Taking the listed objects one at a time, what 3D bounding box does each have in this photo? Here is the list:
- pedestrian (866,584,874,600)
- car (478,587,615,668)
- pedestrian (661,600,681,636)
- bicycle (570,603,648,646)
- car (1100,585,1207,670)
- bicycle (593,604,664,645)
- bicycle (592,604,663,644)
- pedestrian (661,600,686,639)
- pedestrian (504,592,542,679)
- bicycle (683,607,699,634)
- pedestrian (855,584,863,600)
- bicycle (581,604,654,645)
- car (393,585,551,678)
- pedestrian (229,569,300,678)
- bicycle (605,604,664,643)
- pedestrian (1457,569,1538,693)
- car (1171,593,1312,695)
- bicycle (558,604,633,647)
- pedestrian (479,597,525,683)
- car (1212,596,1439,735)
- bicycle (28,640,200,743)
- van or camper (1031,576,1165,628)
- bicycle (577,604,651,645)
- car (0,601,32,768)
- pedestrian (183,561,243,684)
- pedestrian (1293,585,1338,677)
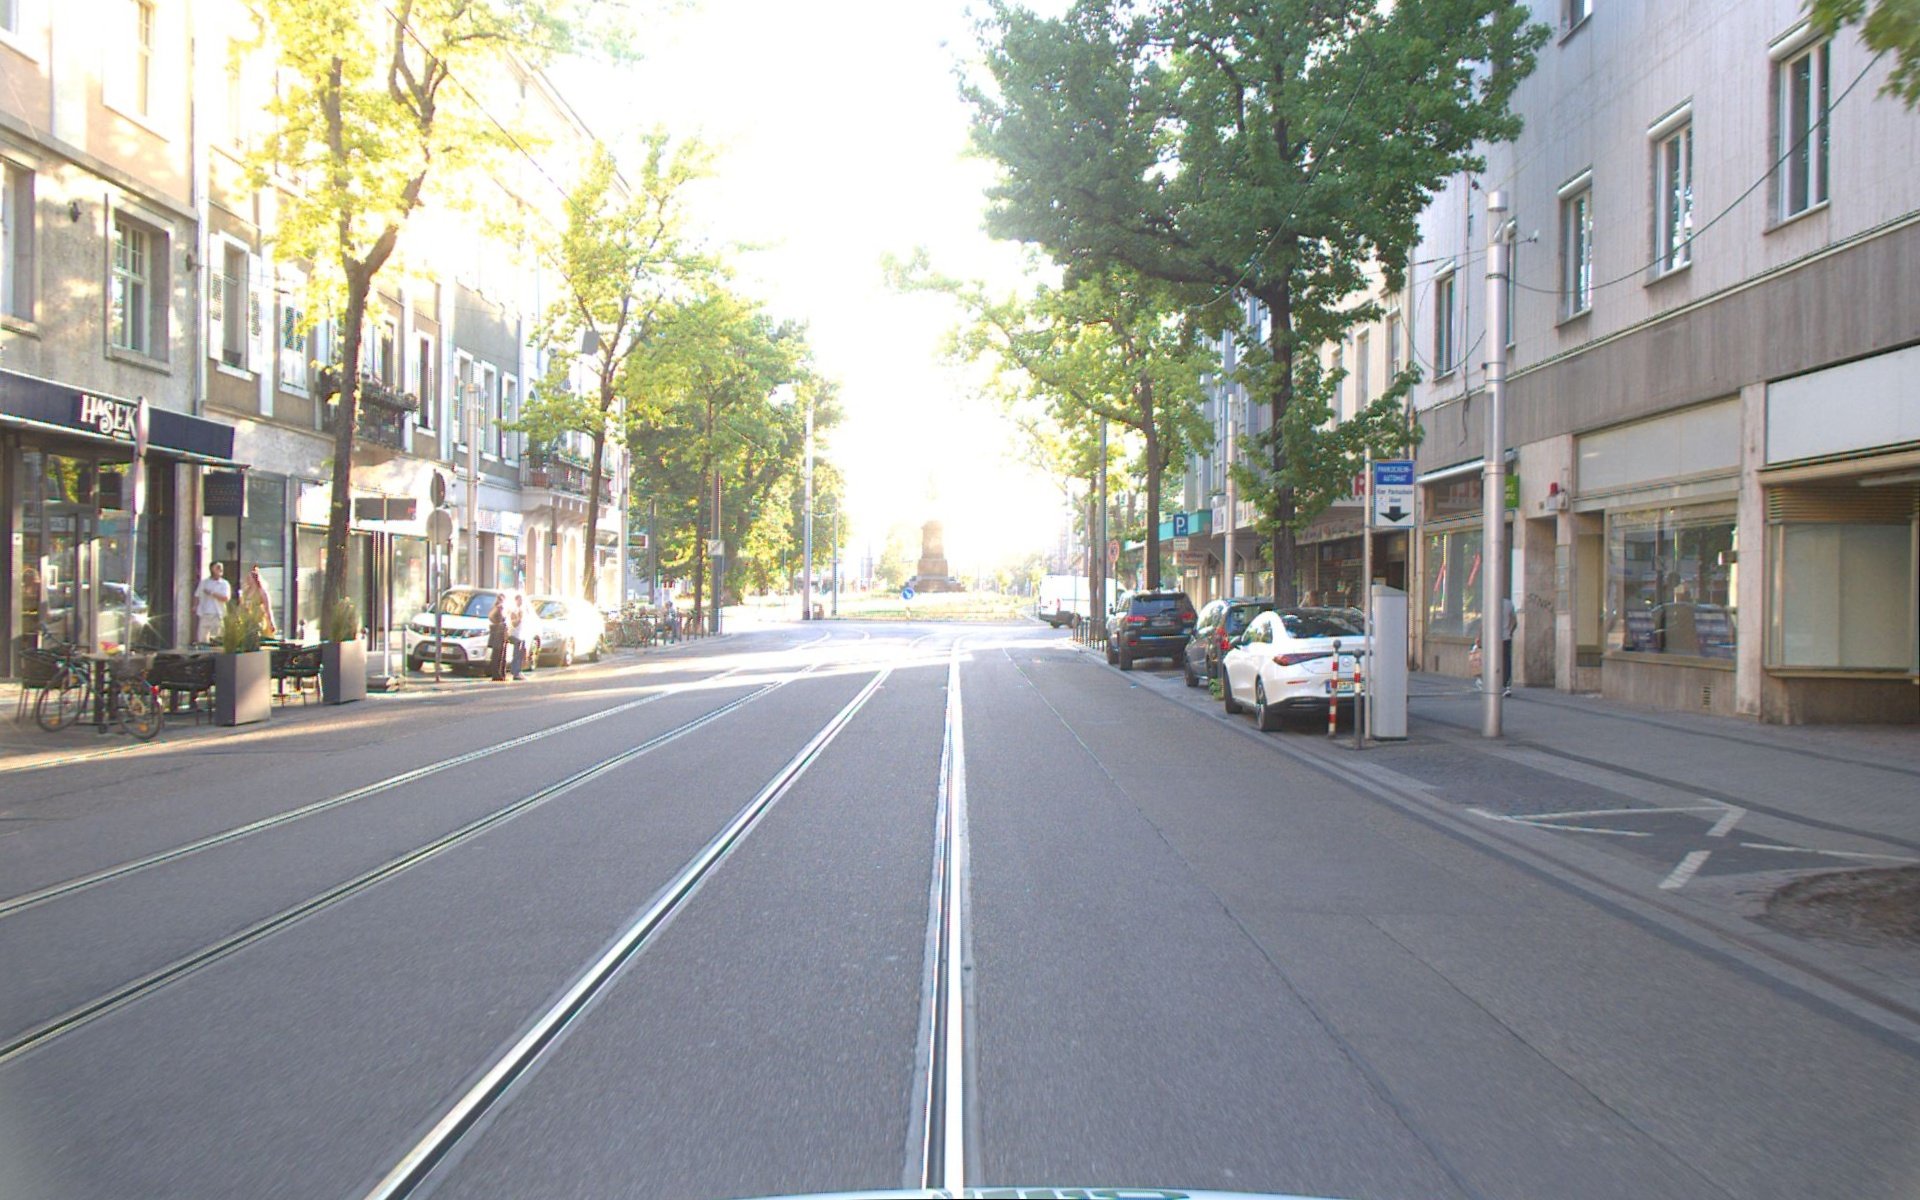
[{"bbox_3d":[-9.097,-0.812,167.140,0.754,1.634,0.637,0,0,-7],"label":"pedestrian"},{"bbox_3d":[-9.331,0.575,37.709,1.799,1.607,4.702,4,0,0],"label":"car"},{"bbox_3d":[-10.083,0.617,57.647,0.579,1.214,0.641,1,0,-3],"label":"pedestrian"},{"bbox_3d":[-9.981,0.695,47.020,2.082,1.124,0.497,3,-1,-26],"label":"bicycle"},{"bbox_3d":[4.517,0.603,39.328,1.899,1.790,4.679,-3,0,0],"label":"car"},{"bbox_3d":[-9.841,0.723,49.125,1.981,1.124,0.501,2,-1,2],"label":"bicycle"},{"bbox_3d":[-10.000,0.716,49.711,1.981,1.124,0.501,2,-1,2],"label":"bicycle"},{"bbox_3d":[-9.702,0.656,56.008,0.713,1.313,0.856,1,0,-3],"label":"pedestrian"},{"bbox_3d":[-8.069,0.656,30.565,0.510,1.596,0.634,0,-1,0],"label":"pedestrian"},{"bbox_3d":[-9.984,0.760,61.312,0.329,0.962,1.510,0,0,1],"label":"bicycle"},{"bbox_3d":[-10.238,-0.824,167.685,0.754,1.634,0.637,0,0,-7],"label":"pedestrian"},{"bbox_3d":[-9.975,0.727,48.245,1.998,1.124,0.497,3,-1,-26],"label":"bicycle"},{"bbox_3d":[-9.626,0.584,32.929,1.799,1.607,4.116,4,0,0],"label":"car"},{"bbox_3d":[-11.680,0.377,27.808,0.707,1.791,1.090,1,0,0],"label":"pedestrian"},{"bbox_3d":[-9.955,0.706,50.582,1.989,1.124,0.499,2,-1,35],"label":"bicycle"},{"bbox_3d":[8.048,0.456,24.803,0.840,1.783,0.932,-3,0,0],"label":"pedestrian"},{"bbox_3d":[4.958,0.726,29.585,1.740,1.618,3.891,-3,0,-1],"label":"car"},{"bbox_3d":[-10.159,0.705,46.099,1.921,1.124,0.563,3,-1,-26],"label":"bicycle"},{"bbox_3d":[-8.236,0.713,29.753,0.607,1.536,0.729,0,-1,0],"label":"pedestrian"},{"bbox_3d":[4.678,0.771,21.879,1.953,1.524,4.680,-3,0,1],"label":"car"},{"bbox_3d":[-8.869,0.955,17.350,1.582,0.982,0.433,2,0,5],"label":"bicycle"},{"bbox_3d":[6.889,0.087,82.397,6.214,2.515,2.597,0,1,-23],"label":"van or camper"},{"bbox_3d":[-9.975,0.712,47.658,1.998,1.124,0.497,3,-1,-26],"label":"bicycle"},{"bbox_3d":[-9.216,0.714,13.008,1.632,1.453,3.827,3,0,-1],"label":"car"},{"bbox_3d":[-12.569,0.372,27.837,0.707,2.049,0.643,1,0,0],"label":"pedestrian"},{"bbox_3d":[6.807,0.584,31.691,0.630,1.699,0.786,-3,0,0],"label":"pedestrian"}]
